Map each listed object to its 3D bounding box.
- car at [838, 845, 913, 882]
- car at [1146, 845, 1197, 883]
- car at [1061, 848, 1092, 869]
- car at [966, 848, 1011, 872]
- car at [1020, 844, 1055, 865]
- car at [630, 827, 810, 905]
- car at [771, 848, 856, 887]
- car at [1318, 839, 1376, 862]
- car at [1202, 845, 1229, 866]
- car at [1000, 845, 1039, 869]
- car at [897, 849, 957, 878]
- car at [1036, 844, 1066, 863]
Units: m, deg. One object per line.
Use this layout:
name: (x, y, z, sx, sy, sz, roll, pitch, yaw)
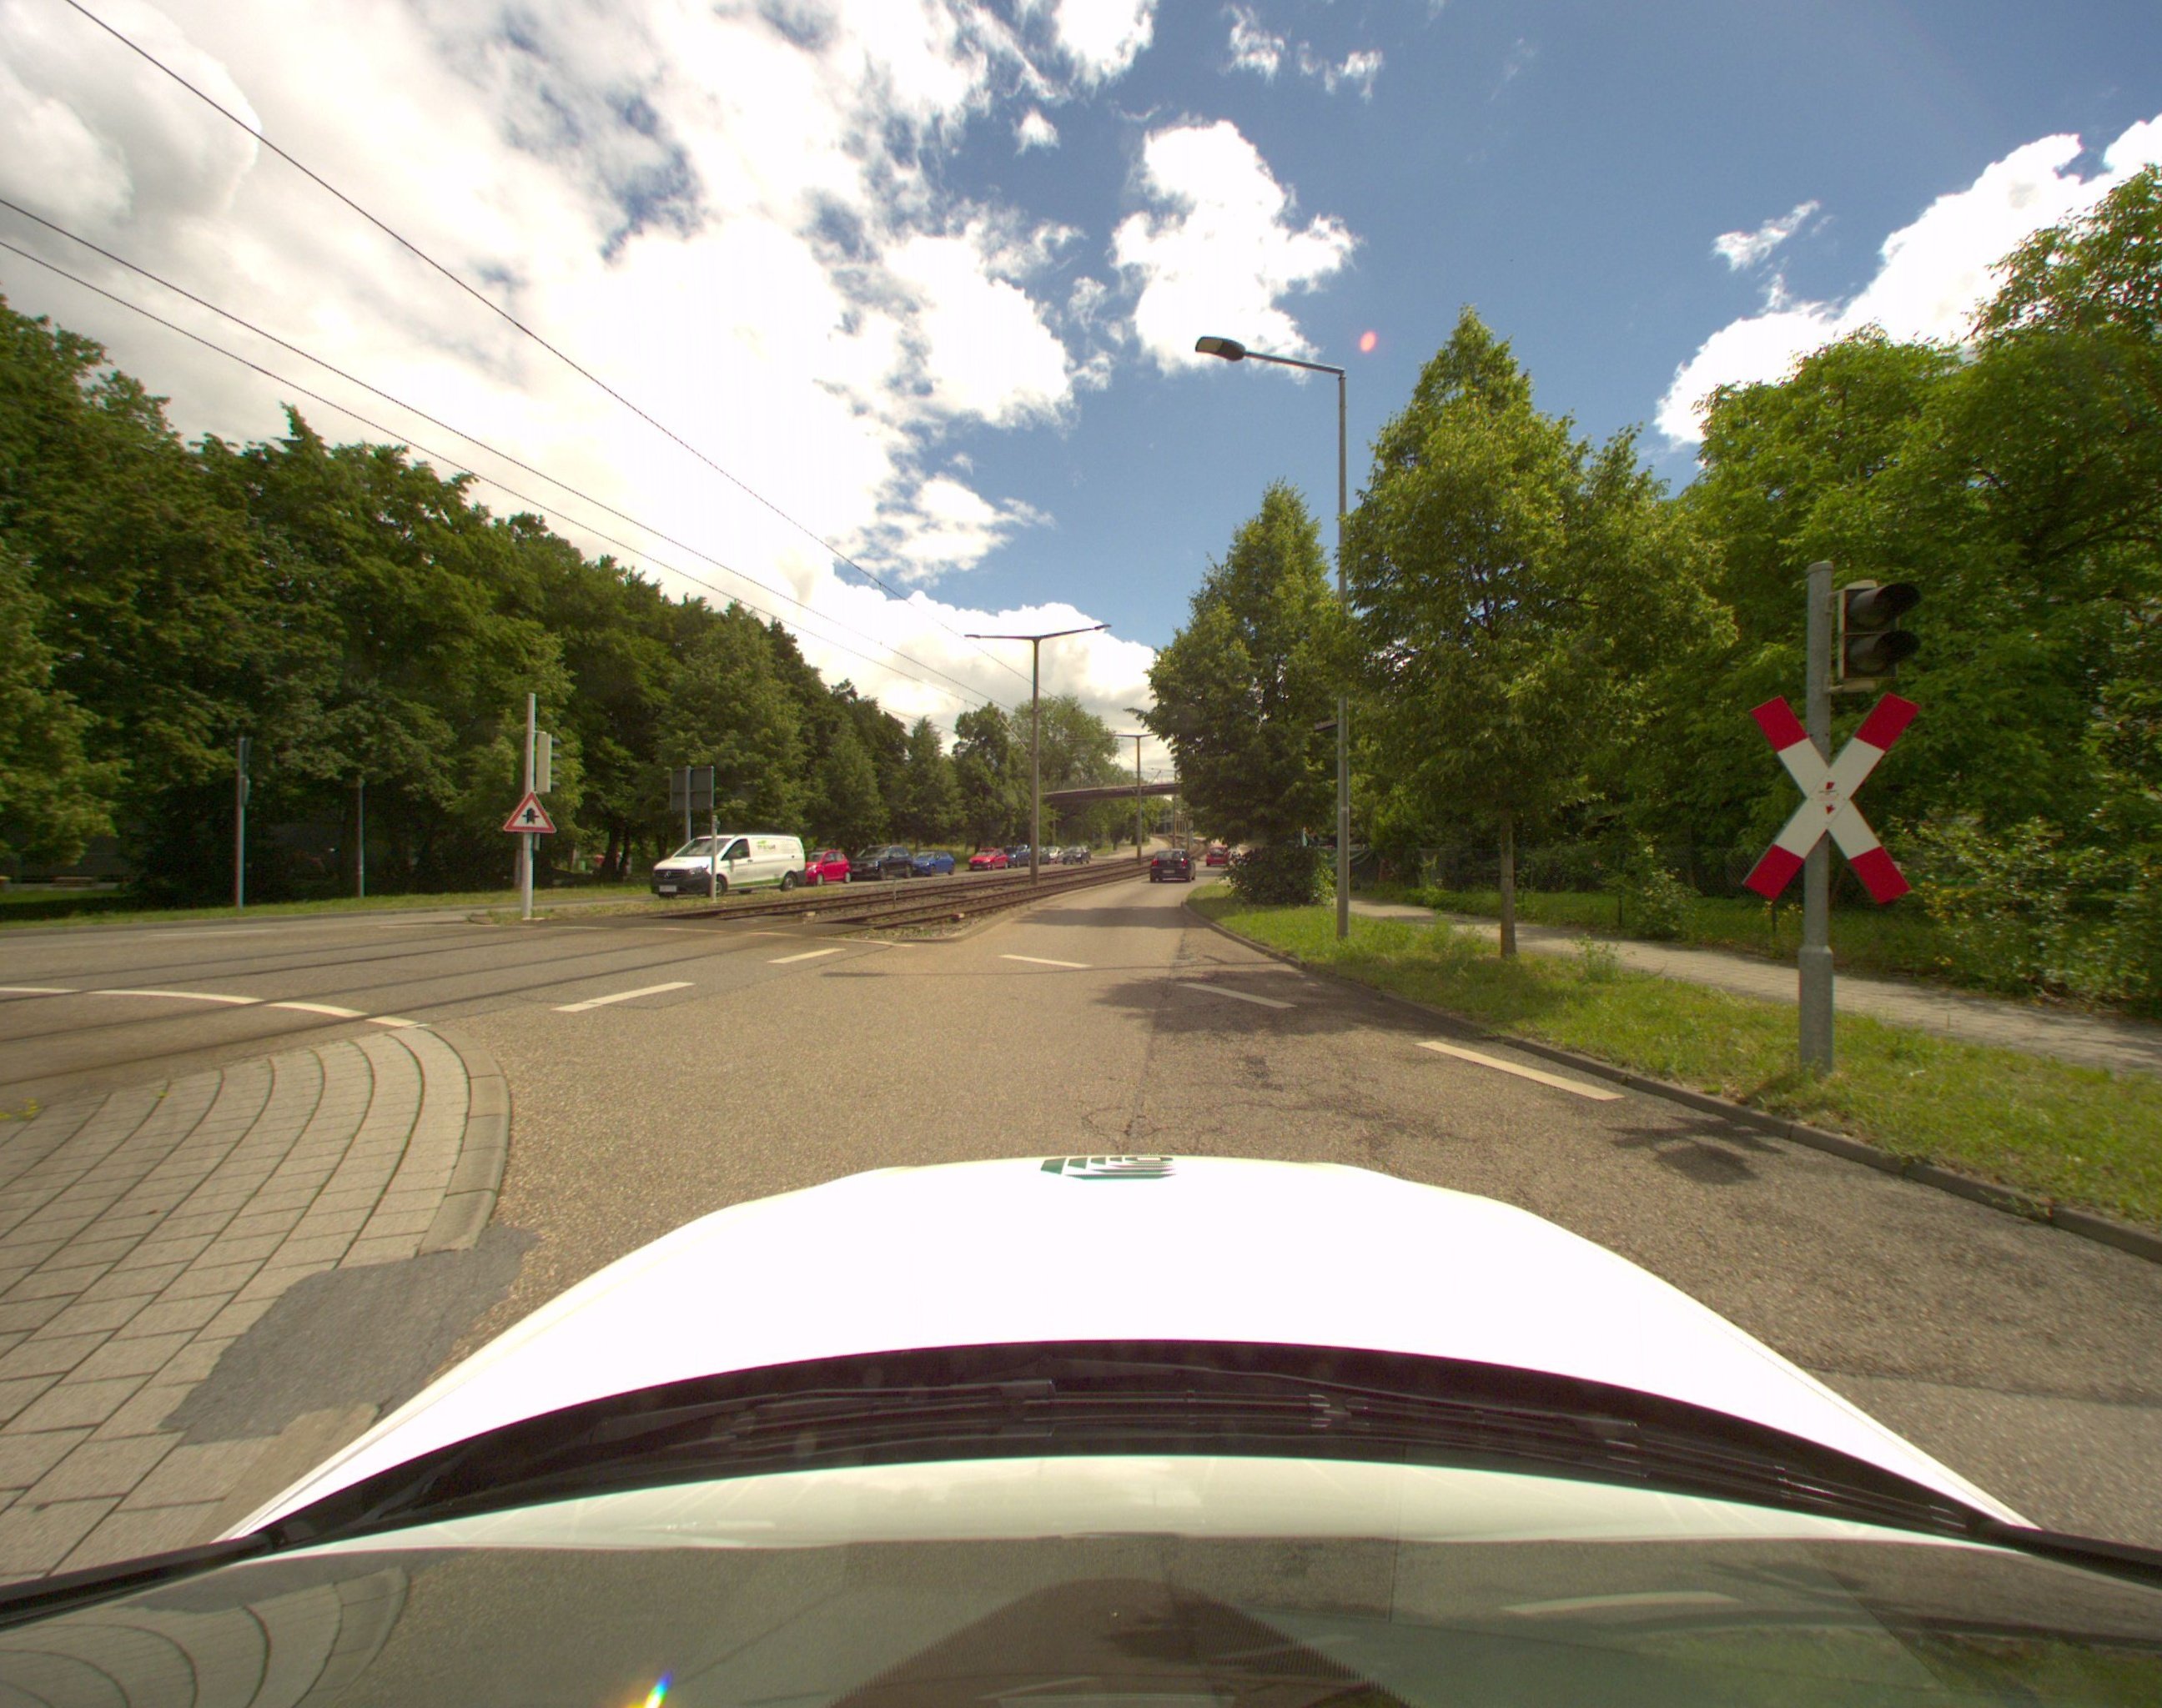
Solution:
car: (-9.688, 0.472, 38.777, 1.569, 1.605, 4.390, 2, -1, 14)
car: (3.999, 0.392, 35.392, 1.696, 1.460, 3.974, 2, 1, 13)
car: (-0.347, 0.388, 67.124, 1.602, 1.574, 4.014, 2, 0, 13)
car: (-6.114, 0.401, 54.087, 1.602, 1.494, 4.062, 2, -1, 14)
car: (-3.405, 0.068, 64.588, 1.631, 1.622, 4.141, 0, 0, 14)
car: (-10.570, 0.360, 24.391, 1.860, 2.018, 5.257, 2, -1, 17)
car: (-10.956, 0.553, 33.612, 1.602, 1.451, 3.675, 2, -1, 13)
car: (22.585, -0.278, 69.319, 4.490, 1.671, 2.008, -4, -2, 15)
car: (9.821, 0.106, 59.412, 1.613, 1.443, 3.434, 2, 0, 14)
car: (-4.425, 0.242, 59.067, 1.546, 1.596, 4.175, 2, -1, 14)
car: (-8.285, 0.545, 44.188, 1.602, 1.461, 4.022, 2, -1, 14)
car: (-2.506, -0.029, 69.859, 1.583, 1.494, 4.205, 2, 0, 12)
